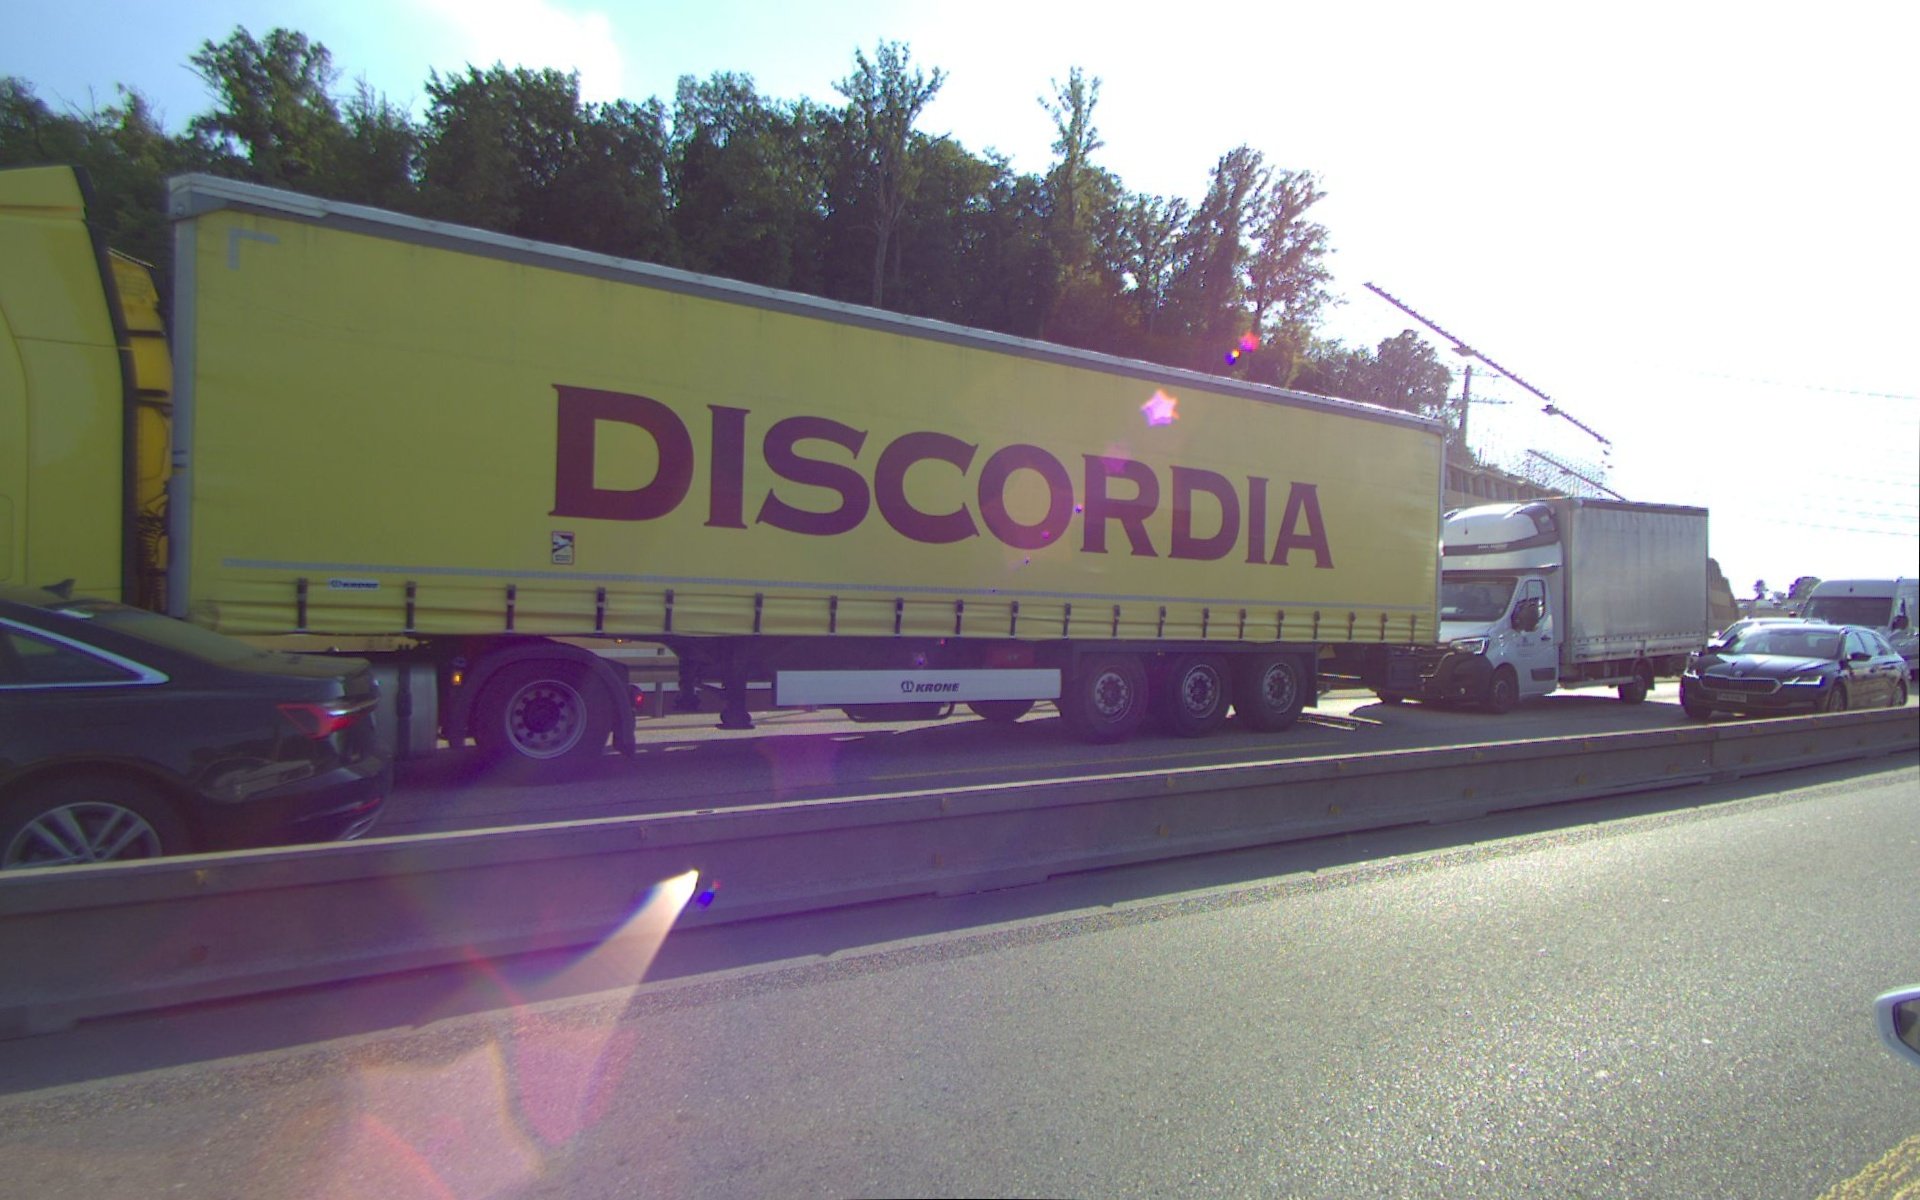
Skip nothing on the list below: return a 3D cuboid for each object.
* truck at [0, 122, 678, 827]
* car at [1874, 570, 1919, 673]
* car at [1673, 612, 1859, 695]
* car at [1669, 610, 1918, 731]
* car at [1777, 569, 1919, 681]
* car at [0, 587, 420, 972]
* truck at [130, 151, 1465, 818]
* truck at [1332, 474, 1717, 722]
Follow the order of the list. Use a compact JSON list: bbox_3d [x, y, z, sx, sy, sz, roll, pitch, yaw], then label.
[{"bbox_3d":[-5.531,-0.711,7.556,6.032,4.142,2.699,2,-1,-32],"label":"truck"},{"bbox_3d":[30.976,0.727,30.980,7.552,2.957,2.320,2,-1,-34],"label":"car"},{"bbox_3d":[16.793,1.071,20.898,3.957,1.544,1.754,1,0,-31],"label":"car"},{"bbox_3d":[12.499,0.976,15.001,4.241,1.544,1.644,1,0,-33],"label":"car"},{"bbox_3d":[23.555,0.668,26.113,5.687,2.655,1.945,2,-1,-33],"label":"car"},{"bbox_3d":[-4.883,0.660,4.123,4.620,1.445,1.798,2,0,-31],"label":"car"},{"bbox_3d":[0.166,-0.549,11.074,13.994,4.142,2.693,2,-1,-32],"label":"truck"},{"bbox_3d":[9.876,0.033,17.252,7.533,3.509,2.434,1,0,-32],"label":"truck"}]
